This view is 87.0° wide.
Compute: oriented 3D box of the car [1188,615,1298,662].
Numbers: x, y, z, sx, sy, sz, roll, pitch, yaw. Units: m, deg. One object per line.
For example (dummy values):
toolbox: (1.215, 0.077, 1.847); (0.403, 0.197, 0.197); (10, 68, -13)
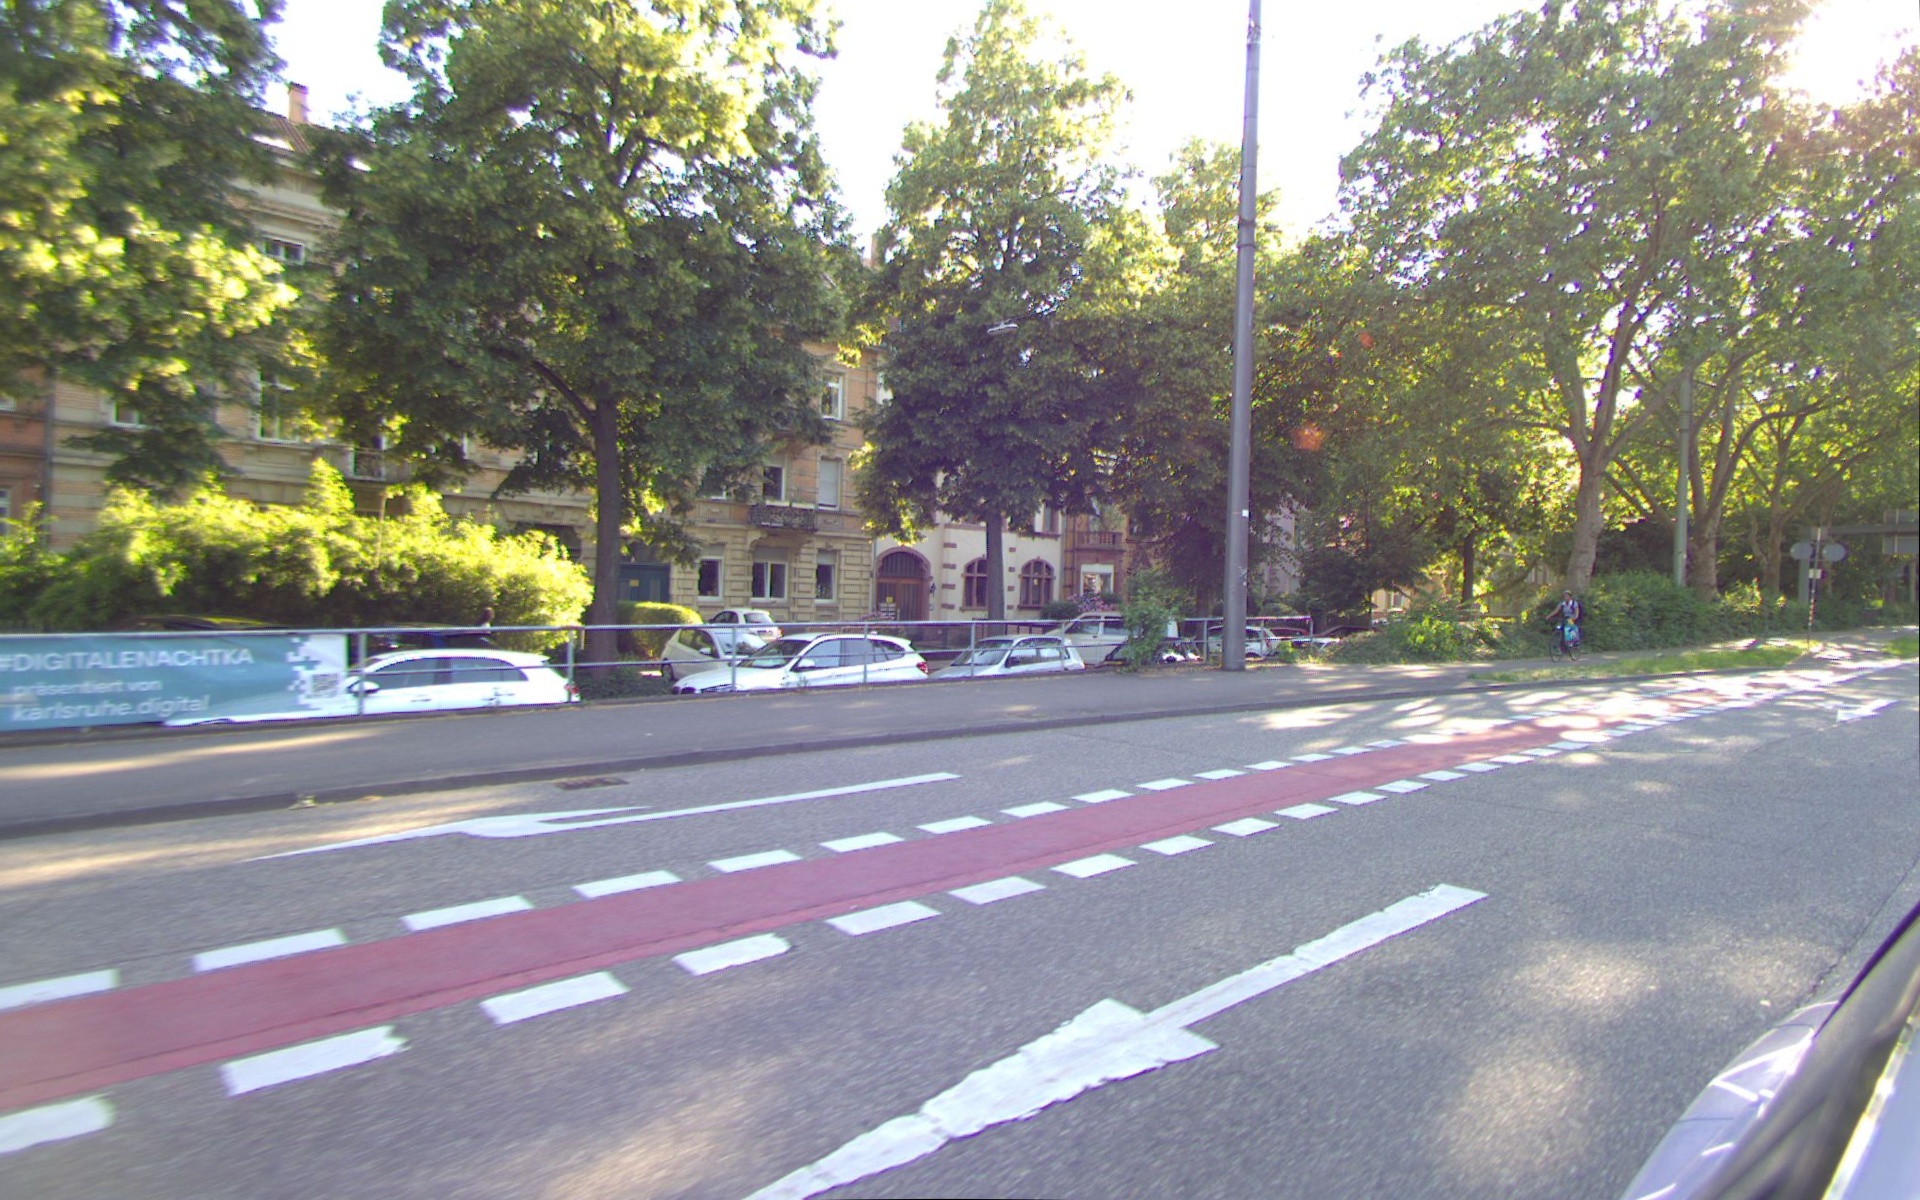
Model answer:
car: (10.928, 1.456, 39.142); (3.947, 1.529, 1.790); (3, 1, 18)

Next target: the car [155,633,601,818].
car: (-6.790, 1.308, 12.093); (4.366, 1.598, 1.797); (-1, 1, -41)

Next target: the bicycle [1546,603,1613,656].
bicycle: (13.964, 0.640, 22.792); (1.769, 1.121, 0.767); (0, 1, -41)

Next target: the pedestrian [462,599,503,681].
pedestrian: (-10.496, 0.861, 22.256); (0.621, 1.768, 0.648); (0, 1, -45)

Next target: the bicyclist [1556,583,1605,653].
bicyclist: (13.971, 0.390, 22.780); (0.639, 1.532, 0.767); (1, 1, -41)

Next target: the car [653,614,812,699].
car: (-5.230, 1.200, 22.937); (1.769, 1.532, 3.994); (1, 2, -42)

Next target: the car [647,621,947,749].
car: (-2.481, 1.224, 16.143); (4.474, 1.598, 1.797); (-1, 1, -41)

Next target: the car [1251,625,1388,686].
car: (9.522, 1.402, 26.680); (3.932, 1.325, 1.797); (-1, 1, -42)

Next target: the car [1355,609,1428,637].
car: (27.983, 1.476, 65.708); (1.766, 1.529, 4.001); (2, 2, -35)

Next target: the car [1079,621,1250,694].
car: (4.634, 1.217, 22.679); (3.932, 1.325, 1.797); (-1, 1, -42)

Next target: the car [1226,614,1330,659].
car: (12.975, 1.473, 41.406); (3.947, 1.529, 1.790); (3, 1, 18)

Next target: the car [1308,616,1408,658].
car: (17.513, 1.602, 44.735); (3.947, 1.529, 1.790); (3, 1, 18)

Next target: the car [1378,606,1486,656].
car: (22.508, 1.433, 48.409); (4.408, 2.039, 1.984); (3, 1, 20)

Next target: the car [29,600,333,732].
car: (-12.569, 0.990, 16.414); (3.939, 1.756, 1.793); (3, 1, 13)

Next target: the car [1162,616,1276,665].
car: (9.399, 1.429, 36.763); (3.871, 1.470, 1.680); (3, 1, 16)

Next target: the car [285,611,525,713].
car: (-10.415, 1.084, 19.022); (3.951, 1.532, 1.788); (3, 1, 20)

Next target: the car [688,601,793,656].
car: (-7.180, 0.877, 32.910); (1.770, 1.541, 3.570); (0, 2, -43)

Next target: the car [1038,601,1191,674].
car: (5.022, 1.158, 32.811); (4.621, 1.990, 1.862); (3, 1, 18)

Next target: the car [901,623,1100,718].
car: (0.807, 1.240, 19.037); (3.516, 1.459, 1.797); (-1, 1, -42)
